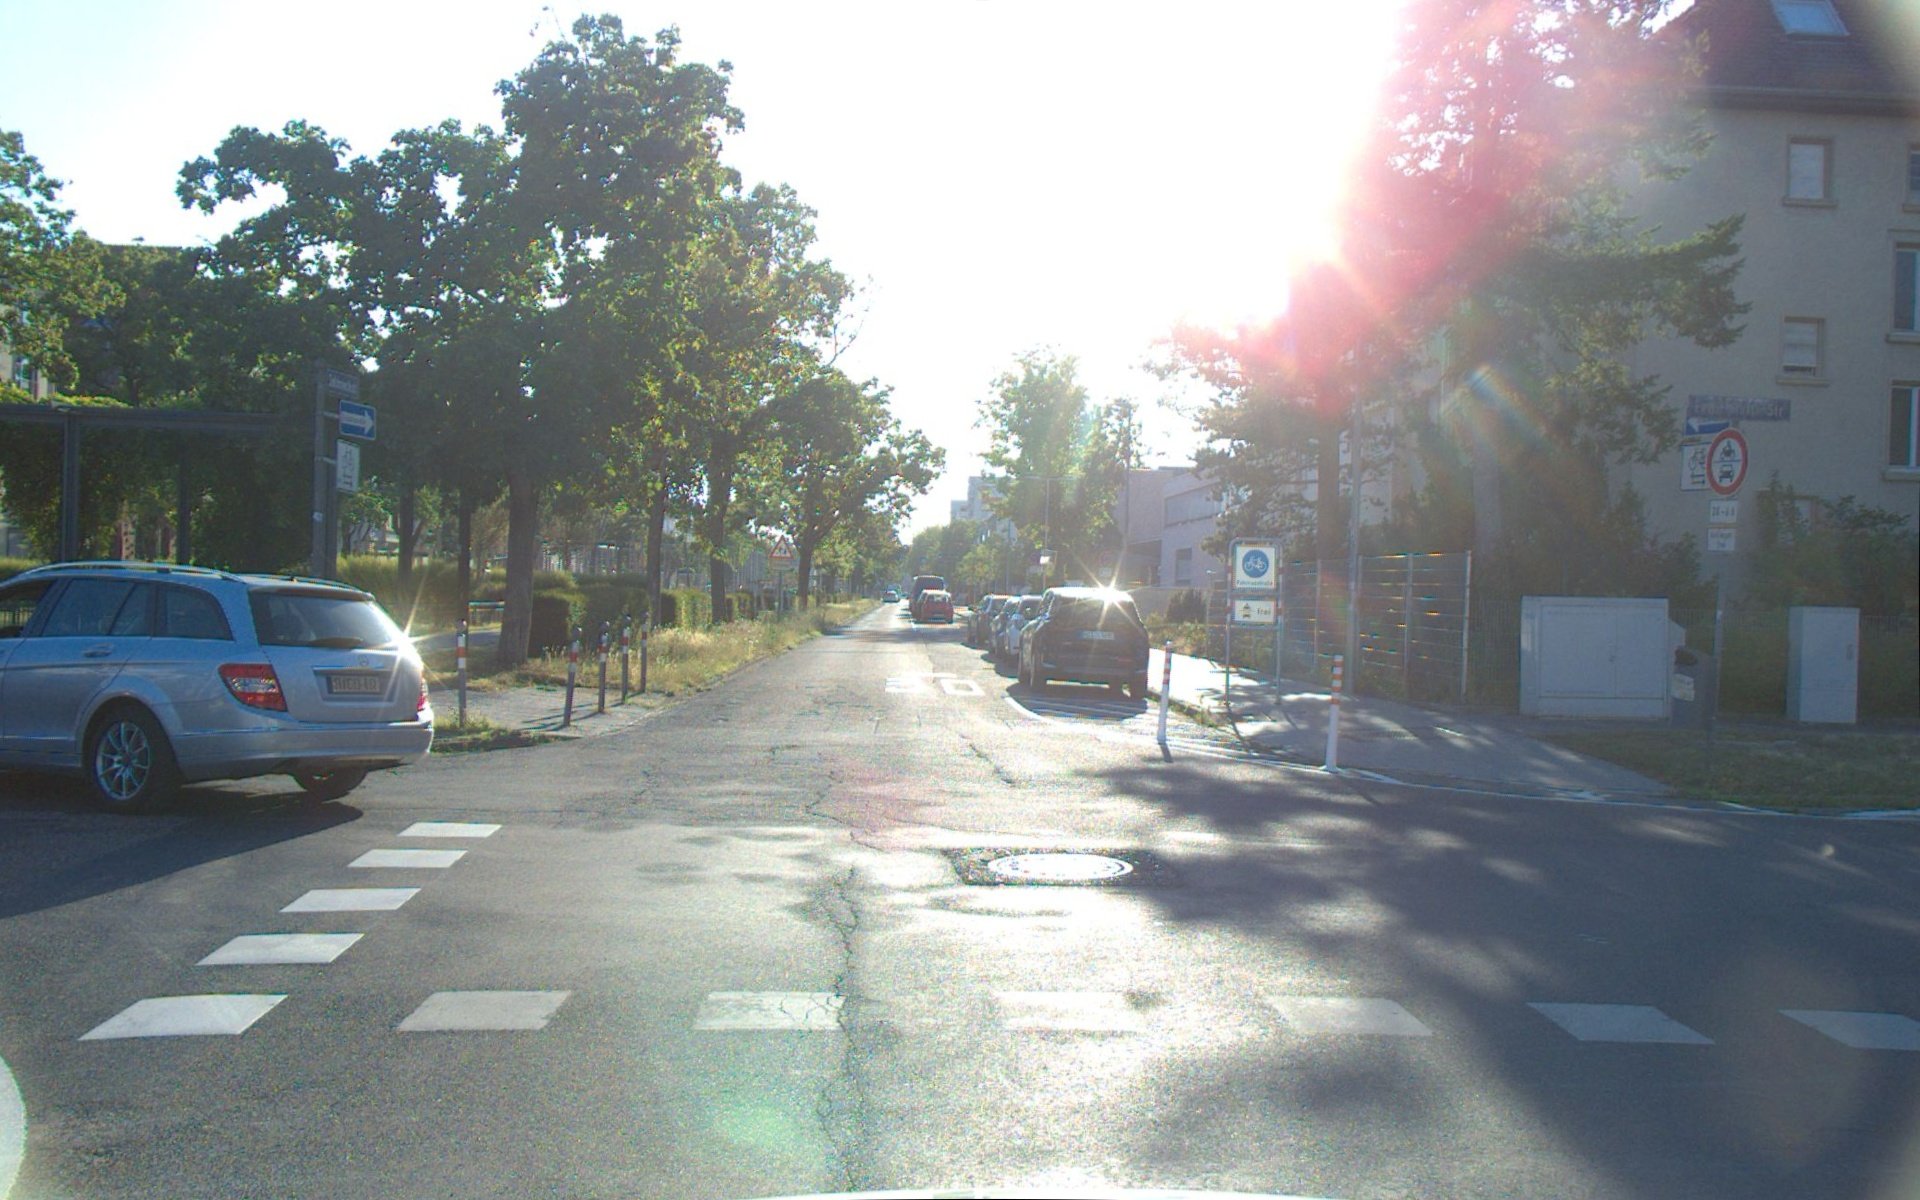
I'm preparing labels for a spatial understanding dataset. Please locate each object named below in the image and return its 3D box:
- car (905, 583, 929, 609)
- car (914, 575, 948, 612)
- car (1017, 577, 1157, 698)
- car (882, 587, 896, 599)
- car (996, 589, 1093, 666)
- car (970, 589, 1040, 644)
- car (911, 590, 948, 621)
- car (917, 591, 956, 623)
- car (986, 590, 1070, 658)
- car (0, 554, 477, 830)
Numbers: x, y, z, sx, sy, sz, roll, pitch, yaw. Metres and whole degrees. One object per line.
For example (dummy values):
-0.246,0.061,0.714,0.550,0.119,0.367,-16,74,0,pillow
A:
-3.699,-0.353,141.152,1.953,2.160,3.999,1,0,-2,car
-1.819,-0.410,102.018,1.953,2.160,3.999,1,0,-2,car
1.952,0.555,26.604,1.780,1.670,4.216,4,0,-1,car
-9.896,-0.958,231.501,1.828,1.646,3.997,1,0,-3,car
1.764,0.562,35.513,1.729,1.552,3.771,0,0,-2,car
1.316,0.468,49.564,1.730,1.552,3.770,0,0,-4,car
-1.648,0.270,88.490,1.696,1.544,3.756,1,0,-5,car
-1.219,0.327,84.332,1.722,1.544,3.756,1,0,-5,car
1.608,0.542,40.380,1.695,1.544,3.758,1,0,-3,car
-5.379,0.475,10.768,4.119,1.498,1.821,1,0,25,car
